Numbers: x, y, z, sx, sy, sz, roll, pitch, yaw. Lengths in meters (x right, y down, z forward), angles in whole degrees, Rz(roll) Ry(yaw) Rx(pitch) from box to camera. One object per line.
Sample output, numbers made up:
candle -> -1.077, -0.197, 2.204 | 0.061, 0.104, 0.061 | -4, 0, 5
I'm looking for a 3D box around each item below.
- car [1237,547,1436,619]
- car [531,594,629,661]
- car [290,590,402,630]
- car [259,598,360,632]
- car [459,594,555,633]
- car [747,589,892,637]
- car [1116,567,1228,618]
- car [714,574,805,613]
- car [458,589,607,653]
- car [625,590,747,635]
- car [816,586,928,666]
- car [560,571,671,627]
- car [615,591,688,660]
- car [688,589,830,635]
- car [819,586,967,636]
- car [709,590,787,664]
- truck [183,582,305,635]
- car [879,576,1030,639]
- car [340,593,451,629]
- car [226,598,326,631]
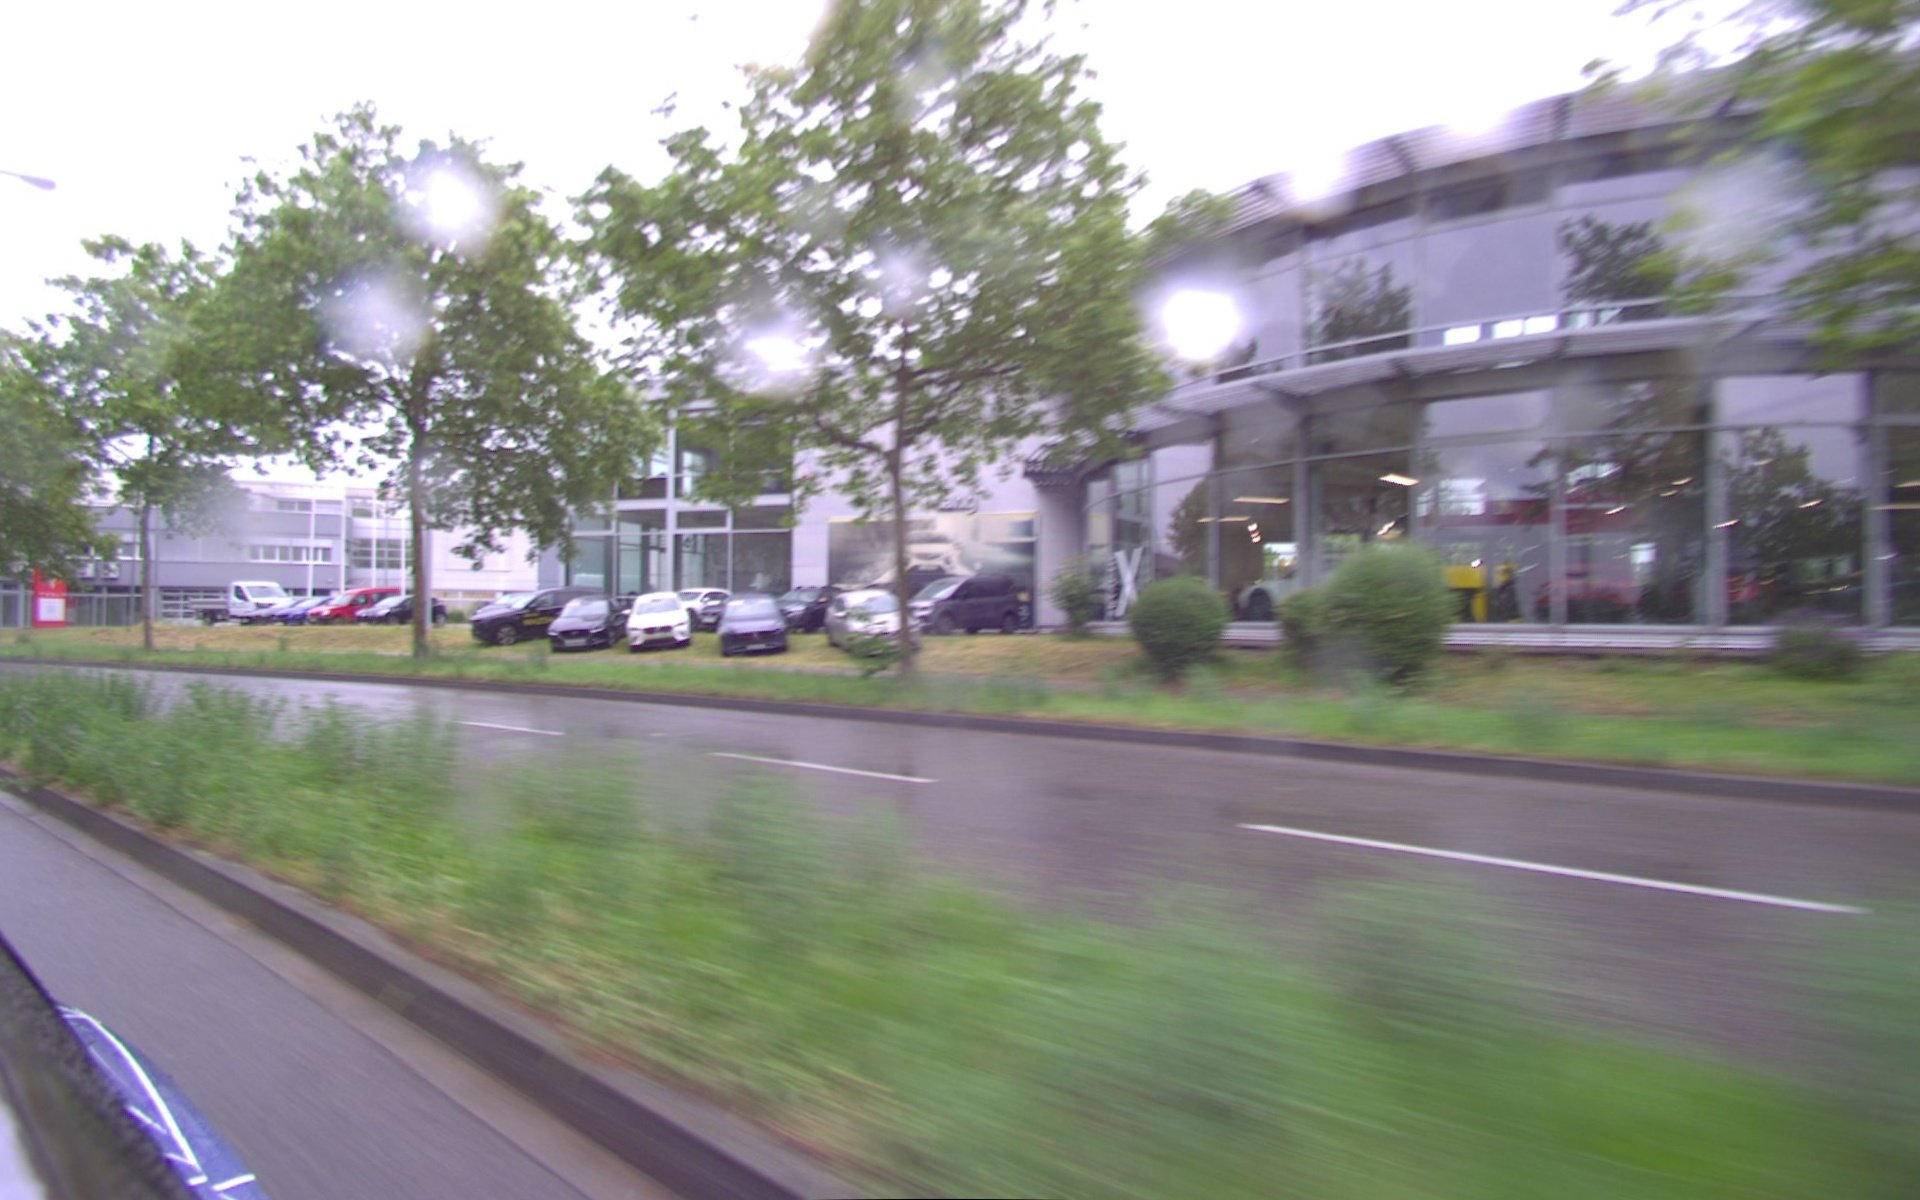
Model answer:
car -> 8.492, -0.322, 23.202 | 1.754, 1.487, 4.125 | 0, -1, -28
car -> -11.828, 0.791, 31.774 | 1.819, 1.489, 4.138 | -5, 5, -7
car -> -27.758, 0.444, 45.906 | 1.836, 1.568, 3.977 | -2, 1, 24
car -> -30.073, 0.678, 46.861 | 1.758, 1.336, 3.506 | -2, 1, 24
car -> -18.671, 0.535, 41.900 | 1.825, 1.367, 4.002 | -3, 1, 6
car -> -4.554, 0.407, 33.171 | 4.366, 1.485, 1.923 | 0, -1, -40
car -> 6.583, -0.206, 31.486 | 3.090, 1.487, 1.598 | -1, -1, 30
car -> -8.109, -0.224, 41.301 | 1.902, 1.485, 4.414 | -1, -1, 15
car -> -14.649, 0.661, 34.768 | 4.363, 1.567, 1.853 | -8, 6, -31
car -> -9.635, 0.444, 35.956 | 1.907, 1.485, 4.403 | -1, -1, 22
car -> -2.311, 0.572, 25.582 | 1.755, 1.486, 4.014 | -6, 6, -19
car -> -17.995, -0.068, 52.848 | 5.246, 2.773, 2.178 | -1, 0, -24
car -> -9.208, 0.687, 30.454 | 1.817, 1.489, 4.143 | -6, 6, -14
car -> -6.805, 0.396, 34.446 | 4.366, 1.485, 1.923 | 0, -1, -40
car -> -2.069, 0.334, 31.983 | 4.366, 1.485, 1.923 | 0, -1, -40
car -> -5.791, 0.666, 27.797 | 1.818, 1.432, 4.141 | -6, 5, -11
truck -> -35.898, 0.427, 50.700 | 6.160, 2.362, 2.235 | -2, 1, 26
car -> -0.112, 0.218, 30.633 | 4.366, 1.751, 1.923 | 0, -1, -40
car -> -25.068, 0.468, 45.059 | 1.836, 1.367, 3.977 | -2, 1, 24
car -> -32.321, 0.663, 47.910 | 1.758, 1.336, 3.506 | -2, 1, 24
